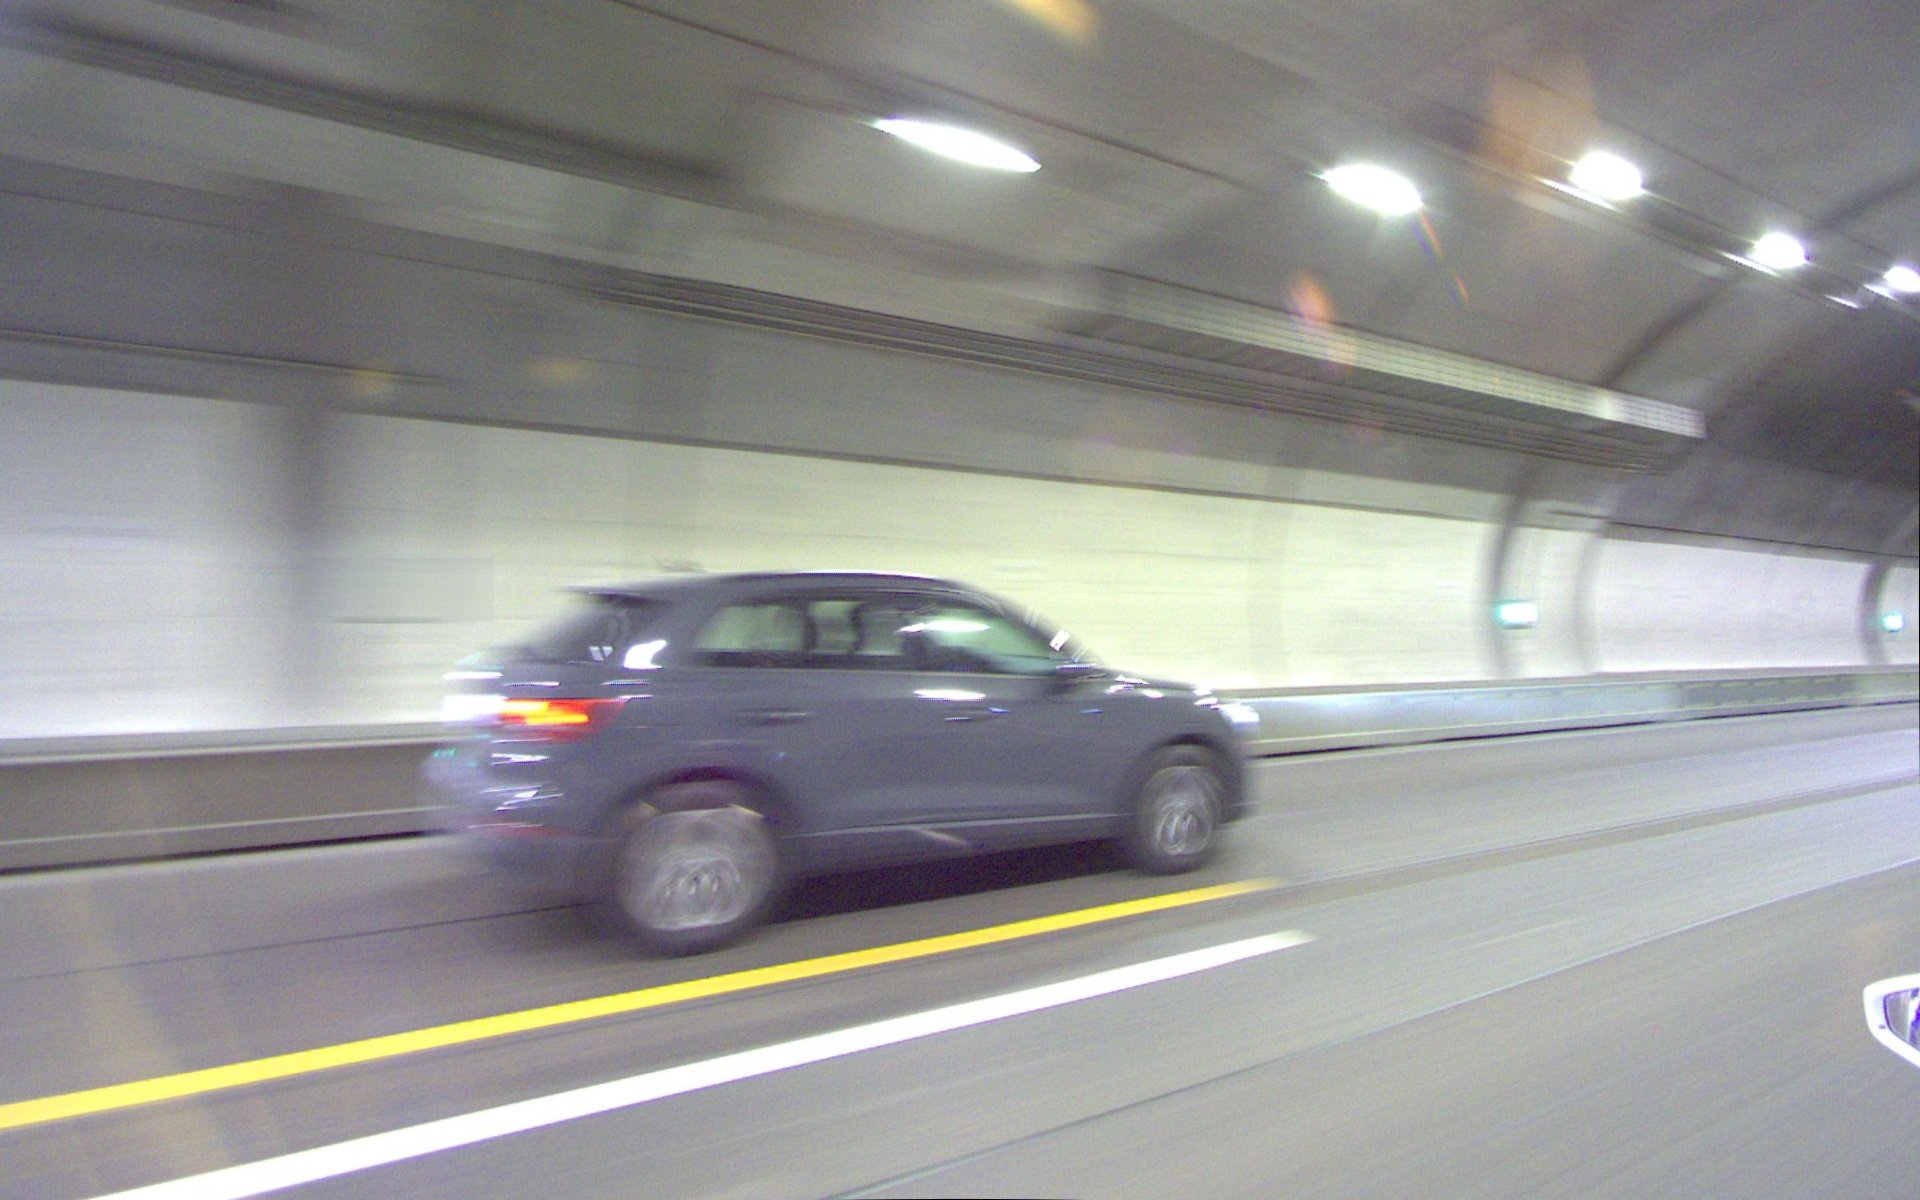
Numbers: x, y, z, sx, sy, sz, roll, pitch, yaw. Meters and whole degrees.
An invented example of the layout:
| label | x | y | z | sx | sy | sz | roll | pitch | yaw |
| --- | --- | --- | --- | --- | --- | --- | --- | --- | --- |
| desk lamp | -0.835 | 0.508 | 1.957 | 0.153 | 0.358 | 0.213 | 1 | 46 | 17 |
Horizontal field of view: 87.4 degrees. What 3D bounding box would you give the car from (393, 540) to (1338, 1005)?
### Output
| label | x | y | z | sx | sy | sz | roll | pitch | yaw |
| --- | --- | --- | --- | --- | --- | --- | --- | --- | --- |
| car | -0.353 | 0.641 | 5.431 | 4.687 | 1.561 | 1.984 | 2 | -1 | -31 |
